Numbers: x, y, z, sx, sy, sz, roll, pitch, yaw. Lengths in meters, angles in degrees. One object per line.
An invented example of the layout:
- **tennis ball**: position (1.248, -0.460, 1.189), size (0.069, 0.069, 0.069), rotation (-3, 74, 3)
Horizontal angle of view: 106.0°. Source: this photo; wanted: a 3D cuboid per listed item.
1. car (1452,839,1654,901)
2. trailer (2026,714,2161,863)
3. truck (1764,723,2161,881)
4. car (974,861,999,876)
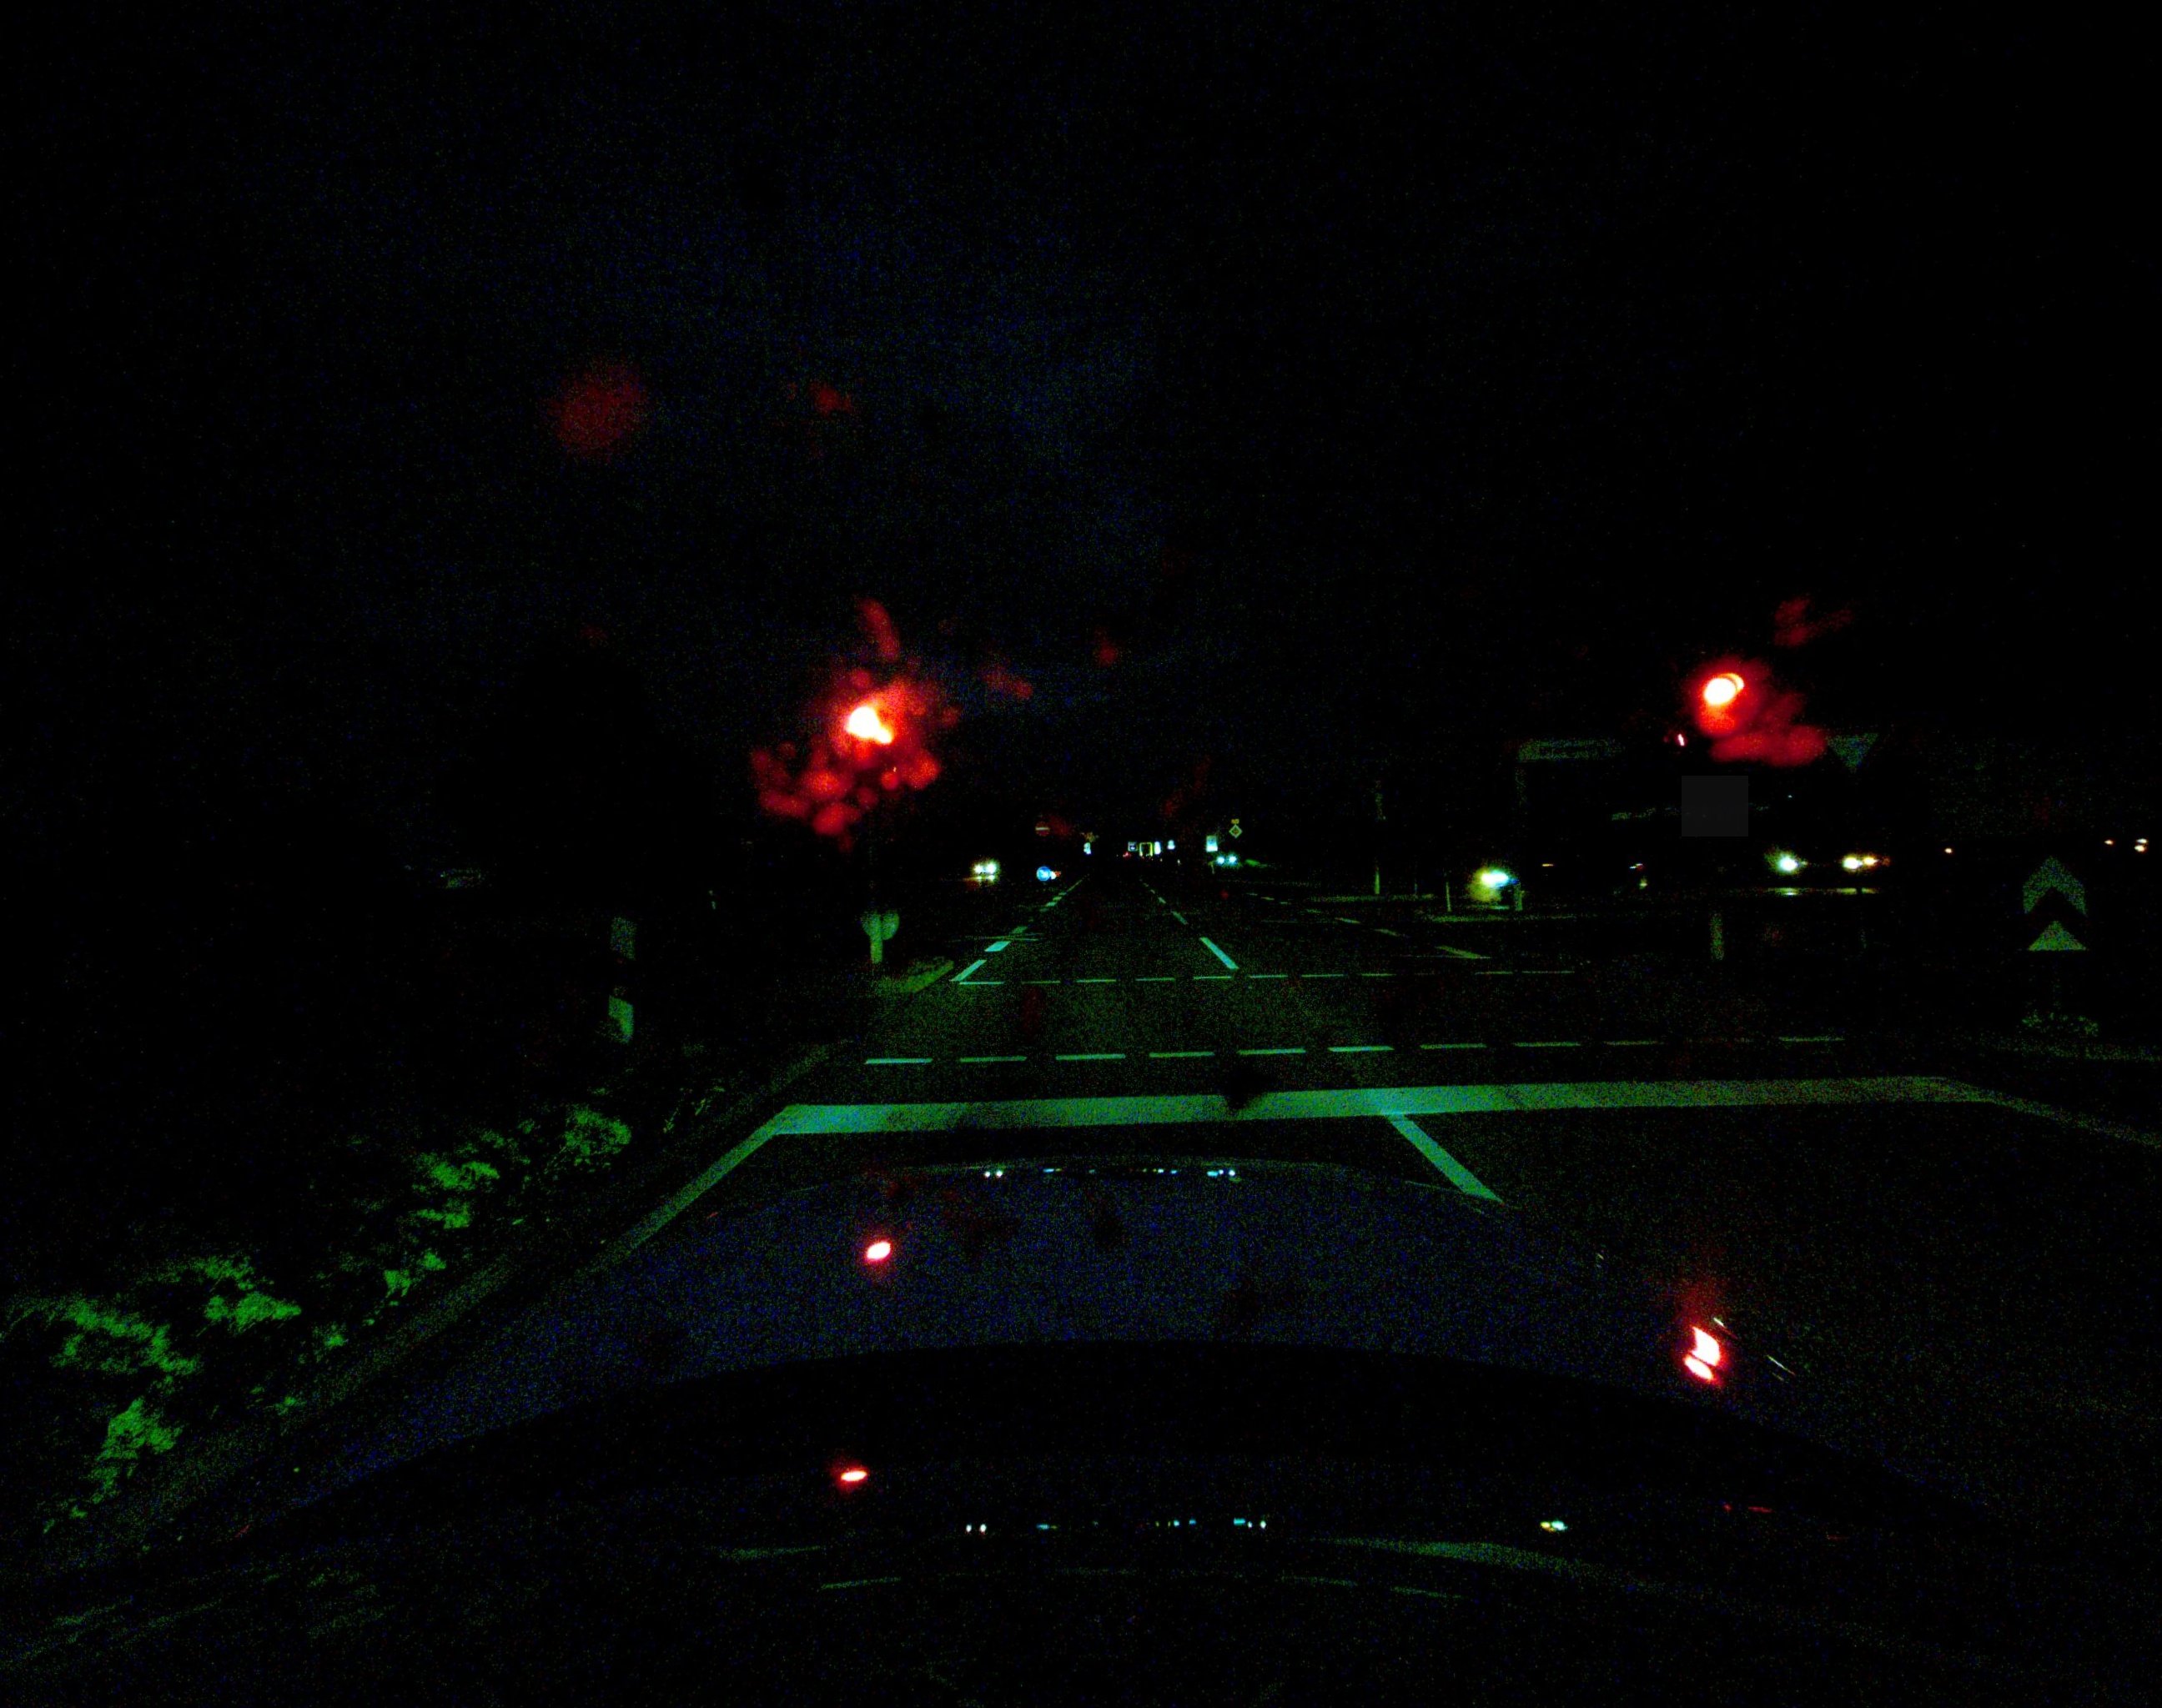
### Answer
- **car**: position (13.339, 0.439, 23.237), size (4.583, 1.520, 2.001), rotation (-2, 0, 2)
- **trailer**: position (35.411, -2.228, 25.588), size (9.040, 4.301, 2.916), rotation (-5, 0, -9)
- **truck**: position (26.140, -1.518, 24.199), size (10.033, 3.979, 2.917), rotation (-3, 0, -8)
- **car**: position (-9.672, 1.468, 83.647), size (1.986, 1.387, 4.002), rotation (-2, 0, 2)
